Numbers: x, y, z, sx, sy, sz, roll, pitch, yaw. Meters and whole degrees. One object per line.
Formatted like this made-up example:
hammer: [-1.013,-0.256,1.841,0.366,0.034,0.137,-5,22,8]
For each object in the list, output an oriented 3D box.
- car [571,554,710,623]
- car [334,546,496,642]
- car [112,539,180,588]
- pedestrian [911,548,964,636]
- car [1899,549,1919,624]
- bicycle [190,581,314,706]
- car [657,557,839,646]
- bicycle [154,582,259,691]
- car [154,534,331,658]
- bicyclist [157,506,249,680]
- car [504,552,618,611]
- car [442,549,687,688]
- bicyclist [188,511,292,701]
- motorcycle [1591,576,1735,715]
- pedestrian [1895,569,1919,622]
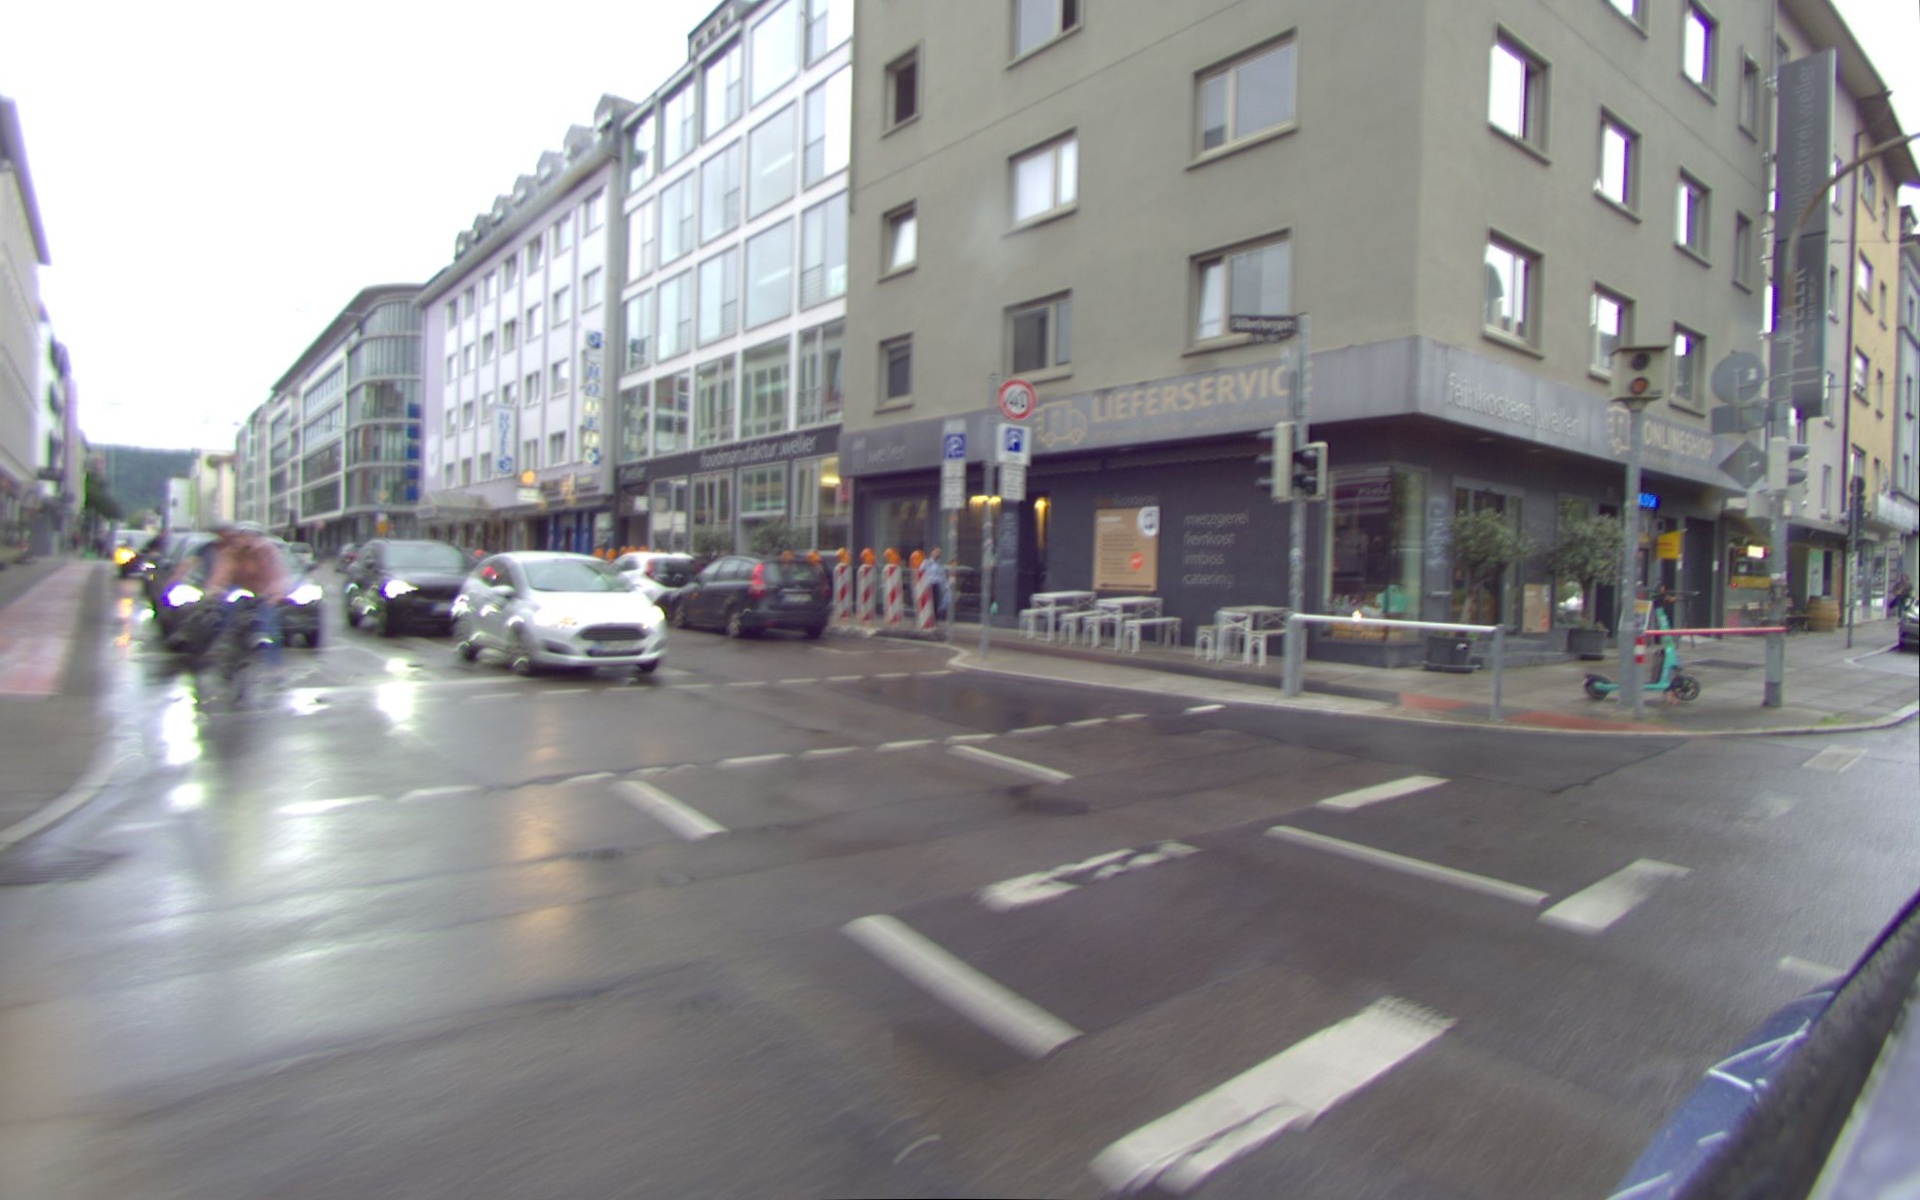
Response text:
car: [-7.610,-0.331,23.882,1.693,1.505,3.974,-1,3,-41]
car: [-9.805,-0.181,18.056,1.693,1.505,4.085,-1,3,-41]
car: [-29.716,-1.343,36.910,1.747,1.660,4.085,-1,3,-41]
pedestrian: [-0.429,-0.168,19.413,0.845,1.629,0.549,-3,3,-37]
car: [22.920,-0.324,22.870,4.541,1.613,2.028,-2,3,-41]
bicycle: [-6.726,0.350,9.576,0.743,1.023,1.928,-1,3,-42]
car: [-4.127,-0.056,19.286,1.693,1.505,3.974,-1,3,-41]
bicycle: [-8.180,0.346,10.952,0.743,1.023,1.983,-1,3,-42]
car: [-11.221,-0.141,15.715,1.848,1.660,4.085,-1,3,-41]
bicyclist: [-8.256,-0.087,11.039,0.744,1.813,0.634,-1,2,-42]
car: [-10.975,-0.553,27.715,1.693,1.505,3.974,-1,3,-41]
car: [-5.188,0.115,12.986,1.693,1.505,3.974,-1,3,-41]
bicyclist: [-7.089,0.035,9.959,0.744,1.768,0.841,-1,2,-42]
motorcycle: [7.886,0.483,11.399,1.116,1.479,0.681,1,2,14]
pedestrian: [30.648,-0.161,32.547,0.708,1.680,0.792,-1,1,-40]
